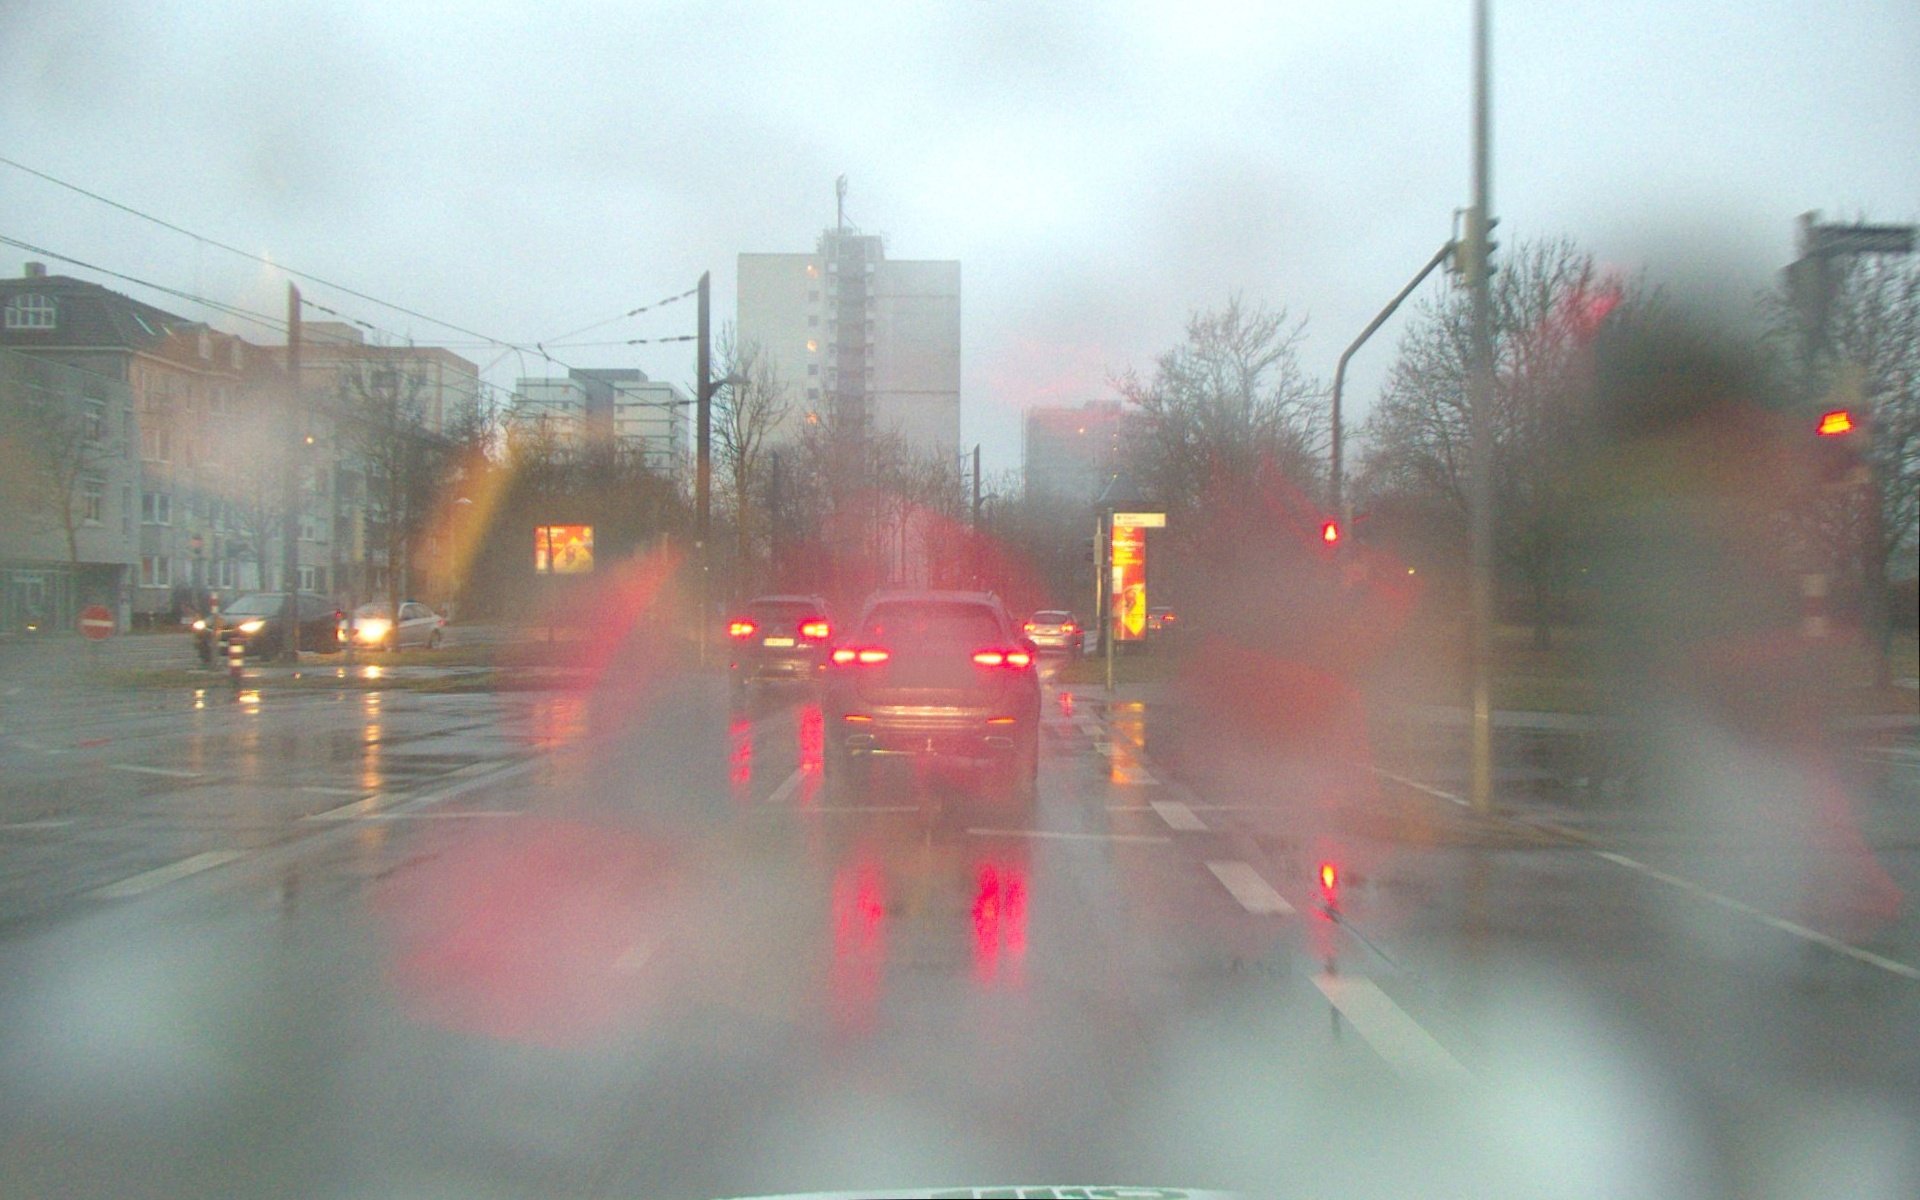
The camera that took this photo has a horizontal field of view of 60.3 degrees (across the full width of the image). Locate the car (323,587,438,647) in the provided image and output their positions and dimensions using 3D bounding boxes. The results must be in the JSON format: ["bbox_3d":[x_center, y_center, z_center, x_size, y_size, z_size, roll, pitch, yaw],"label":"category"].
[{"bbox_3d":[-16.340,0.502,46.906,1.555,1.556,4.932,2,-1,-1],"label":"car"}]

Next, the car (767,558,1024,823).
[{"bbox_3d":[-0.461,0.753,14.980,1.952,2.010,4.068,2,-1,1],"label":"car"}]

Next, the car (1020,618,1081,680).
[{"bbox_3d":[3.068,1.639,55.604,1.817,1.925,4.002,2,-1,6],"label":"car"}]

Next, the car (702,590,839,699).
[{"bbox_3d":[-3.277,0.781,29.401,1.953,1.742,4.323,2,-1,-1],"label":"car"}]

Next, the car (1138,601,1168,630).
[{"bbox_3d":[10.886,0.886,93.556,1.503,1.540,3.344,2,-1,4],"label":"car"}]

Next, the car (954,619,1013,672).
[{"bbox_3d":[0.925,1.727,63.423,1.734,1.925,3.645,2,-1,9],"label":"car"}]

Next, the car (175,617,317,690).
[{"bbox_3d":[-17.392,1.291,40.476,1.768,1.635,3.998,2,-1,-2],"label":"car"}]
